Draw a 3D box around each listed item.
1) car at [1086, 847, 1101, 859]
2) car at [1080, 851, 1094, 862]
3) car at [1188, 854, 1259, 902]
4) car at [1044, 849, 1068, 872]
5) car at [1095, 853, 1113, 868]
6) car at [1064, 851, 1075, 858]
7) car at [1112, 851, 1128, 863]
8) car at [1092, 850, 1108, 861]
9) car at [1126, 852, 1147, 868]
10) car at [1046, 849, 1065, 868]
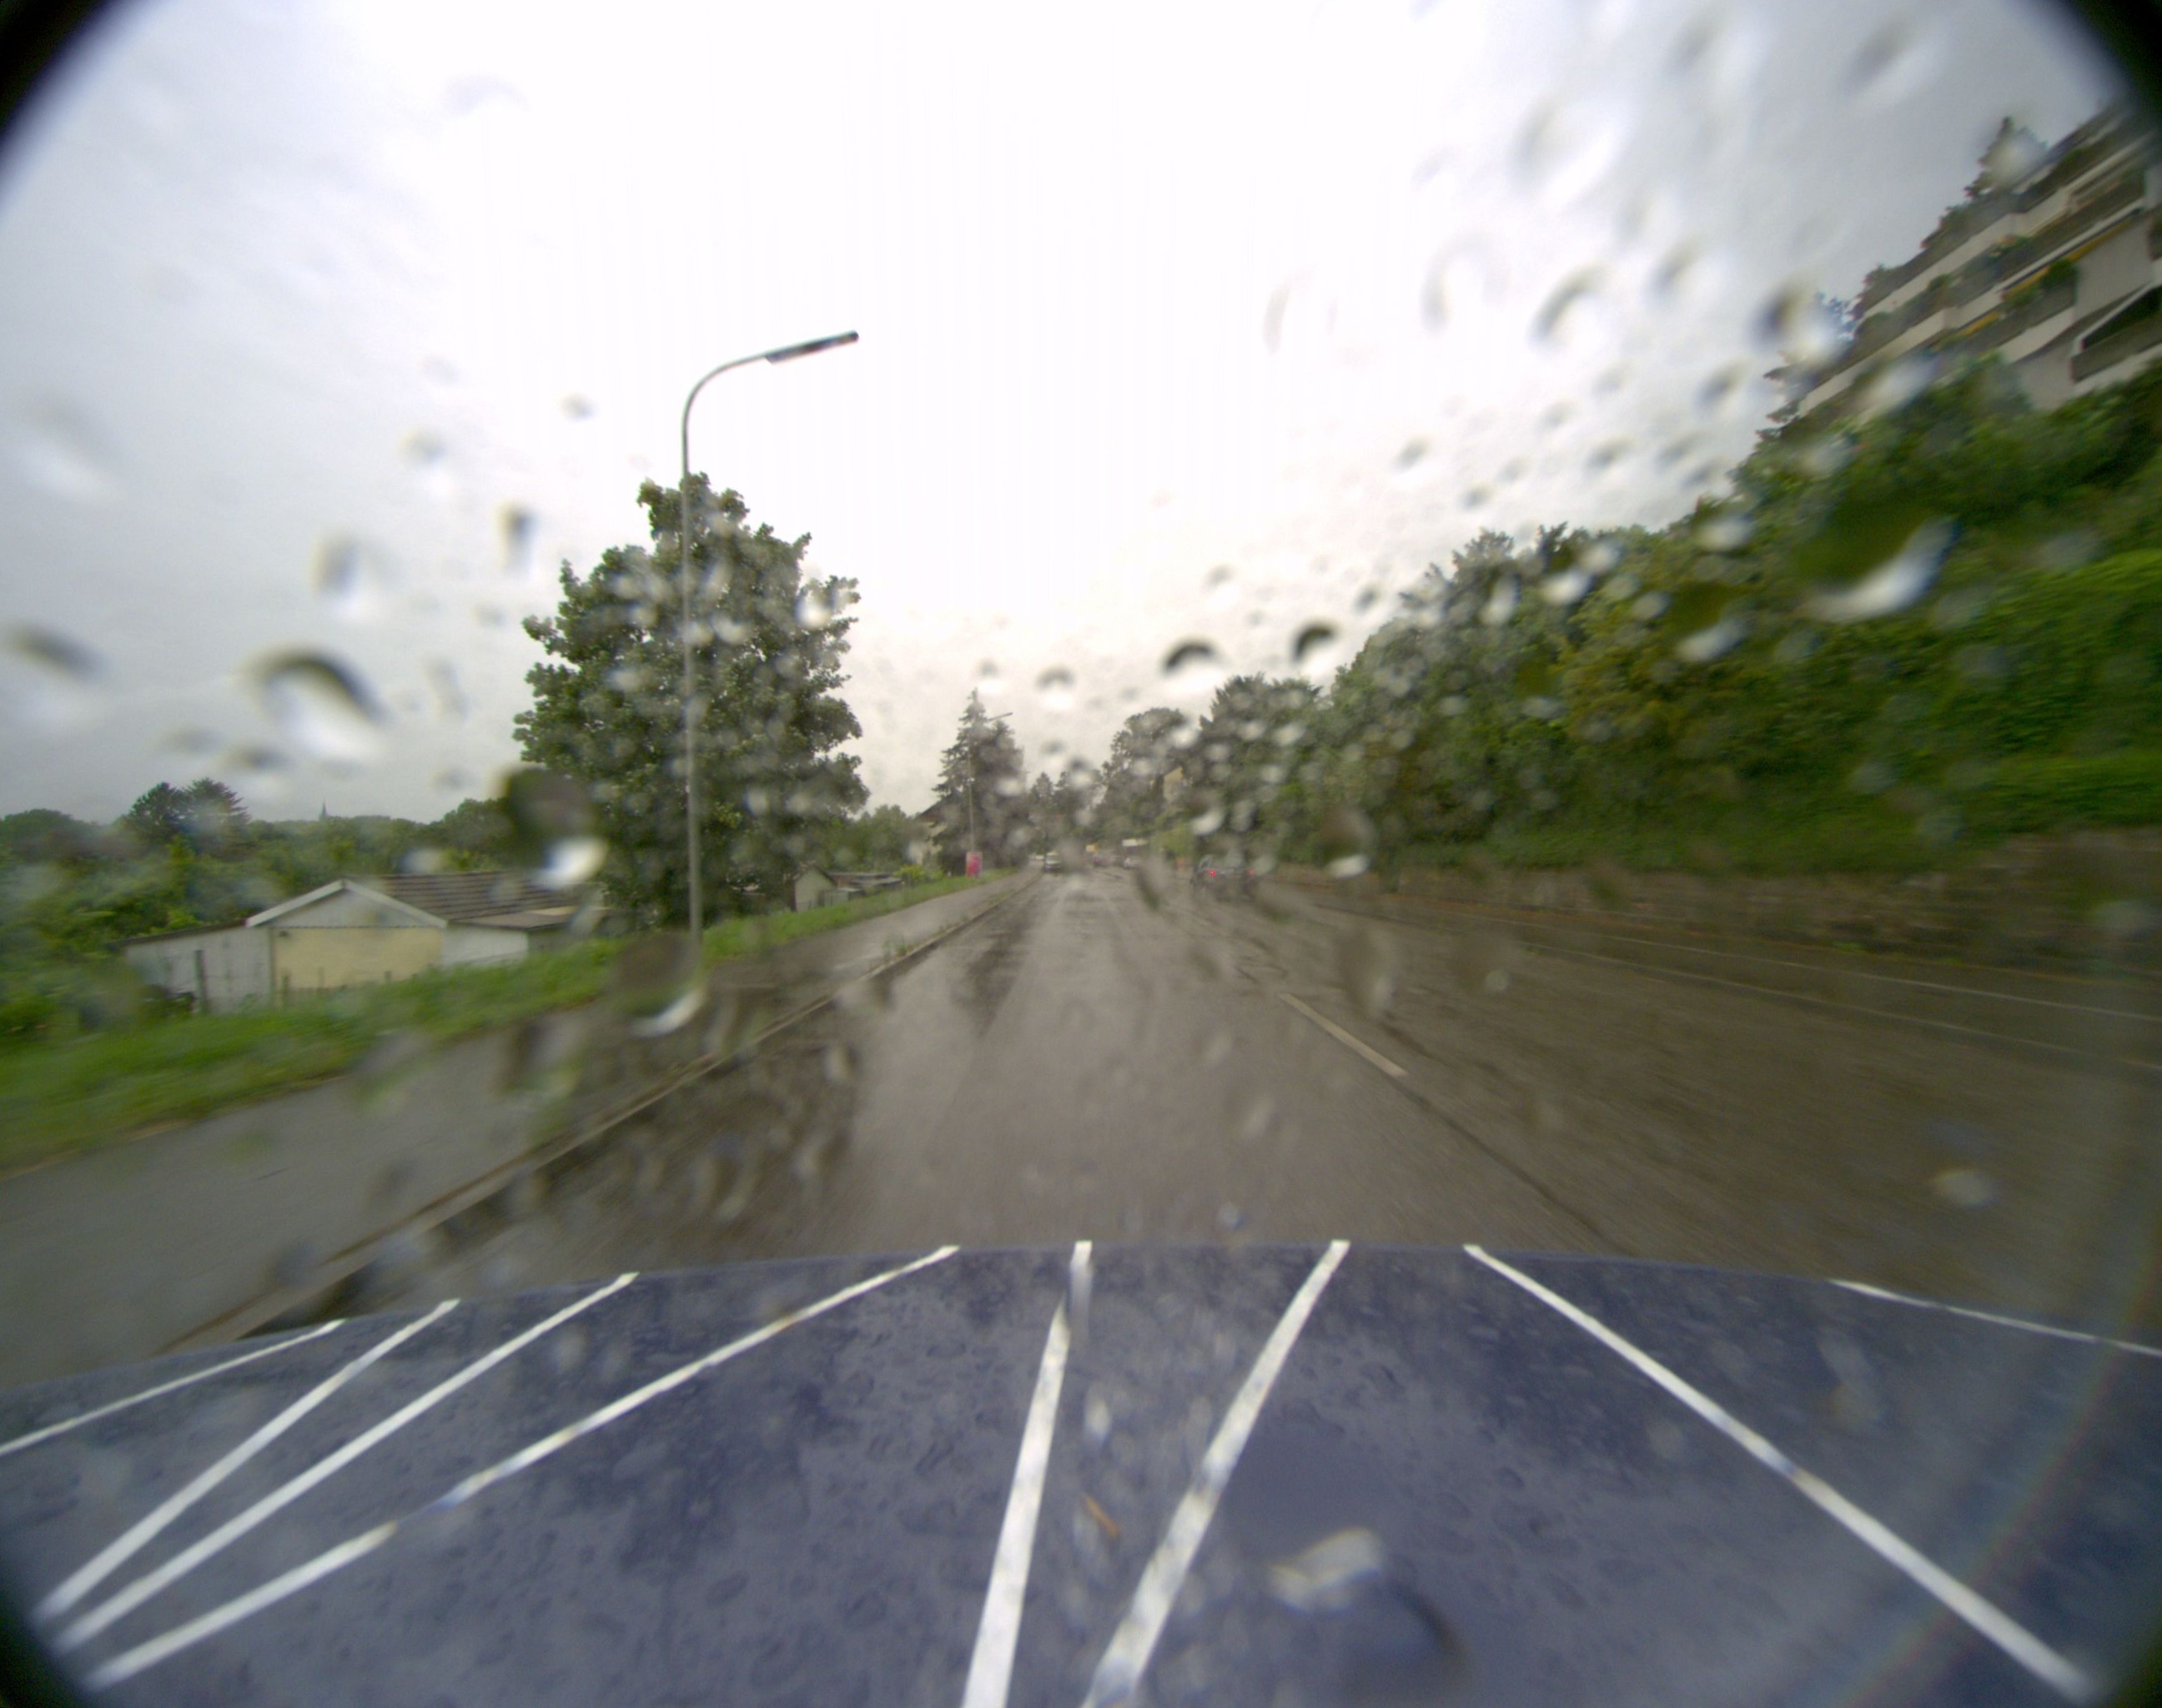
[{"bbox_3d":[2.221,-0.173,137.556,1.855,2.137,3.701,-2,0,-11],"label":"car"},{"bbox_3d":[0.860,0.396,113.287,1.853,1.583,5.145,-2,0,-1],"label":"car"},{"bbox_3d":[4.603,0.732,24.979,1.596,1.433,3.704,1,0,-1],"label":"car"},{"bbox_3d":[-2.340,0.622,71.434,1.998,2.001,4.000,-1,-1,0],"label":"car"},{"bbox_3d":[2.608,0.706,86.345,1.853,1.583,3.704,-2,0,-1],"label":"car"},{"bbox_3d":[-2.593,0.144,172.511,1.855,1.583,3.701,-2,0,-11],"label":"car"},{"bbox_3d":[5.055,0.405,99.486,1.853,1.583,3.704,-2,0,-1],"label":"car"},{"bbox_3d":[2.966,0.272,117.809,1.854,1.583,3.702,-2,0,-7],"label":"car"},{"bbox_3d":[5.838,0.596,80.218,1.853,1.583,3.704,-2,0,-1],"label":"car"},{"bbox_3d":[-3.090,0.581,92.803,1.998,2.168,4.000,-1,-1,0],"label":"car"}]
